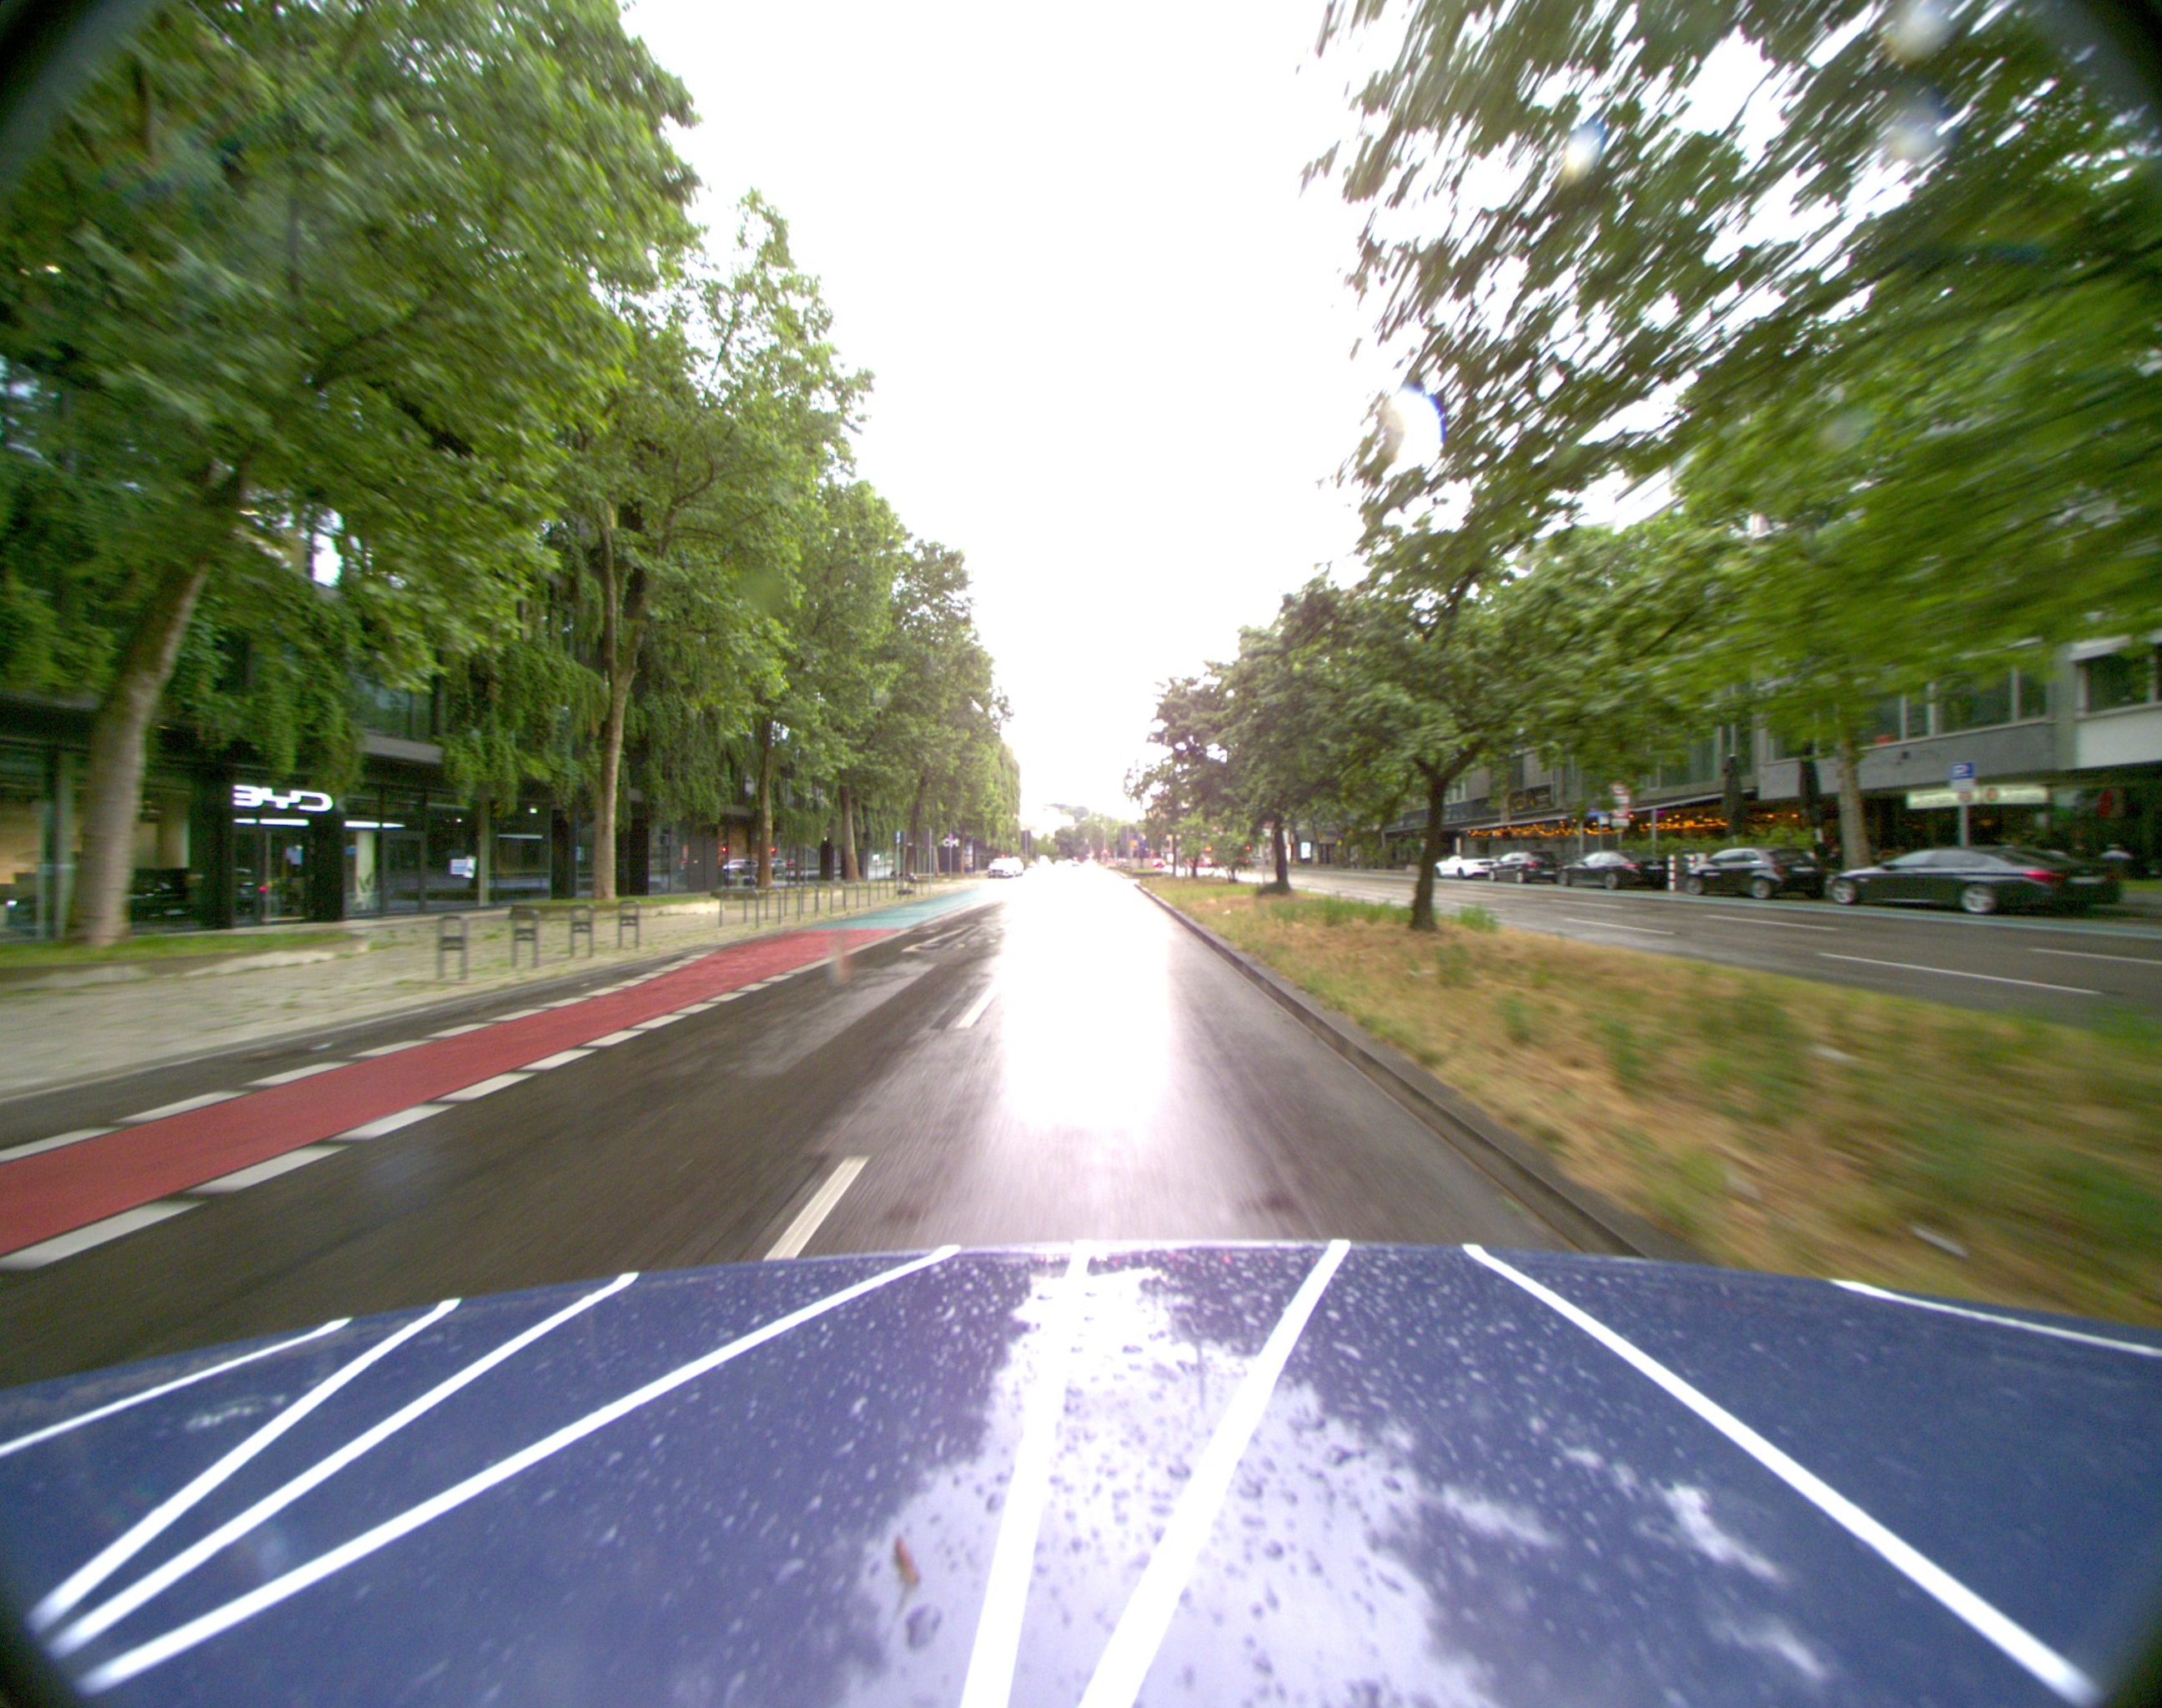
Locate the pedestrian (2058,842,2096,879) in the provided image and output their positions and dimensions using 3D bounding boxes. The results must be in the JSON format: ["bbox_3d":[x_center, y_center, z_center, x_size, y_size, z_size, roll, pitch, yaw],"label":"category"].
[{"bbox_3d":[27.567,0.175,21.027,0.486,0.995,0.490,-3,1,-15],"label":"pedestrian"}]

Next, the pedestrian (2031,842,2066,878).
[{"bbox_3d":[27.531,0.173,21.628,0.459,0.987,0.463,-3,1,-14],"label":"pedestrian"}]

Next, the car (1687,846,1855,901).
[{"bbox_3d":[20.013,0.509,22.256,1.875,1.414,3.400,-2,1,2],"label":"car"}]

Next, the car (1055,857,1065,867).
[{"bbox_3d":[-3.393,1.308,122.869,1.557,1.534,3.663,-2,1,1],"label":"car"}]

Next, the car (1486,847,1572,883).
[{"bbox_3d":[20.308,0.470,34.602,1.750,1.445,3.788,-2,1,2],"label":"car"}]

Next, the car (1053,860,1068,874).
[{"bbox_3d":[-2.661,1.672,98.144,1.780,1.546,3.929,-2,1,1],"label":"car"}]

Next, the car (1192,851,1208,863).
[{"bbox_3d":[18.284,0.448,116.877,1.938,1.776,3.954,-2,1,2],"label":"car"}]

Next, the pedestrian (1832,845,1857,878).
[{"bbox_3d":[27.633,0.268,27.500,0.467,1.179,0.445,-3,1,-11],"label":"pedestrian"}]

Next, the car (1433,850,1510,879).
[{"bbox_3d":[20.573,0.521,40.202,1.881,1.318,4.392,-2,1,2],"label":"car"}]

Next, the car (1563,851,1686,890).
[{"bbox_3d":[20.125,0.562,28.387,1.647,1.232,4.318,-2,1,3],"label":"car"}]

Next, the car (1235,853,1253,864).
[{"bbox_3d":[22.455,0.603,104.633,1.765,1.318,3.738,-2,1,2],"label":"car"}]

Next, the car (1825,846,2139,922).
[{"bbox_3d":[19.834,0.572,17.129,1.875,1.377,4.537,-2,1,4],"label":"car"}]

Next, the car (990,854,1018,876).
[{"bbox_3d":[-6.809,0.947,67.324,1.932,1.726,4.598,-2,1,0],"label":"car"}]

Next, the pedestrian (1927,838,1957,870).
[{"bbox_3d":[27.664,0.004,24.417,0.464,1.010,0.424,-2,1,-2],"label":"pedestrian"}]

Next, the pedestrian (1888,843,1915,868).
[{"bbox_3d":[27.844,0.049,25.784,0.440,0.845,0.433,-2,1,-2],"label":"pedestrian"}]

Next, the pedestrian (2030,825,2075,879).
[{"bbox_3d":[30.461,-0.066,23.832,0.606,1.638,0.623,-2,1,-3],"label":"pedestrian"}]

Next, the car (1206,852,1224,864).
[{"bbox_3d":[19.039,0.529,108.210,1.780,1.565,3.728,-2,1,0],"label":"car"}]

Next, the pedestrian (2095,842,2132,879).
[{"bbox_3d":[27.783,0.171,20.455,0.458,0.958,0.453,-3,1,-15],"label":"pedestrian"}]

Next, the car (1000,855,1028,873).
[{"bbox_3d":[-6.403,0.906,73.397,2.036,1.553,4.585,-2,1,2],"label":"car"}]

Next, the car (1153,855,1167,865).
[{"bbox_3d":[11.971,0.832,115.334,1.678,1.381,3.527,-2,1,-2],"label":"car"}]
